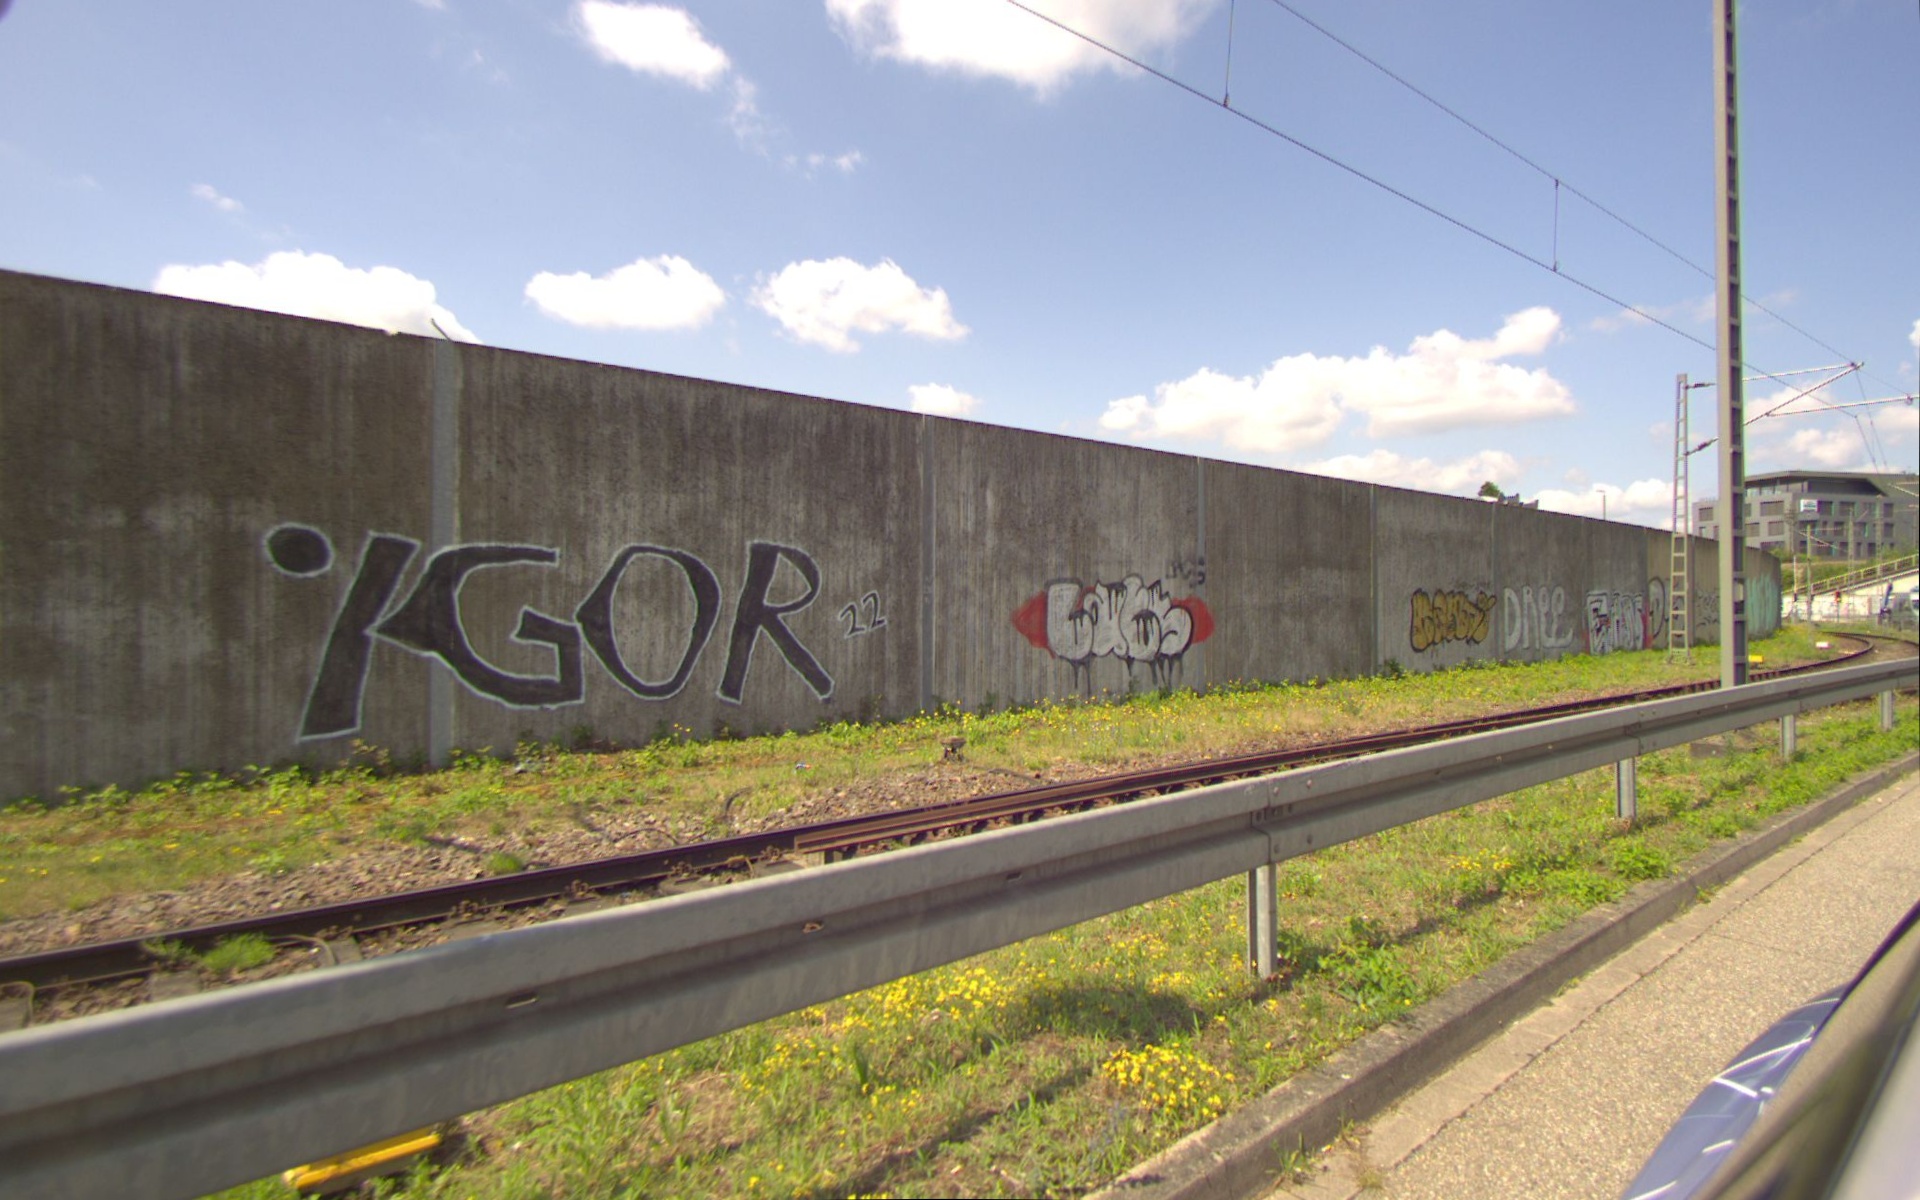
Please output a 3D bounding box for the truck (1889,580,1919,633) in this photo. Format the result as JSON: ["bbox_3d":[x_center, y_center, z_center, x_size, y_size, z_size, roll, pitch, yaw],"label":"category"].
[{"bbox_3d":[69.245,0.429,71.857,2.626,3.692,6.832,-2,0,24],"label":"truck"}]

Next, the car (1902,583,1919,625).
[{"bbox_3d":[61.398,0.211,63.734,2.052,2.559,5.811,-2,-1,34],"label":"car"}]
